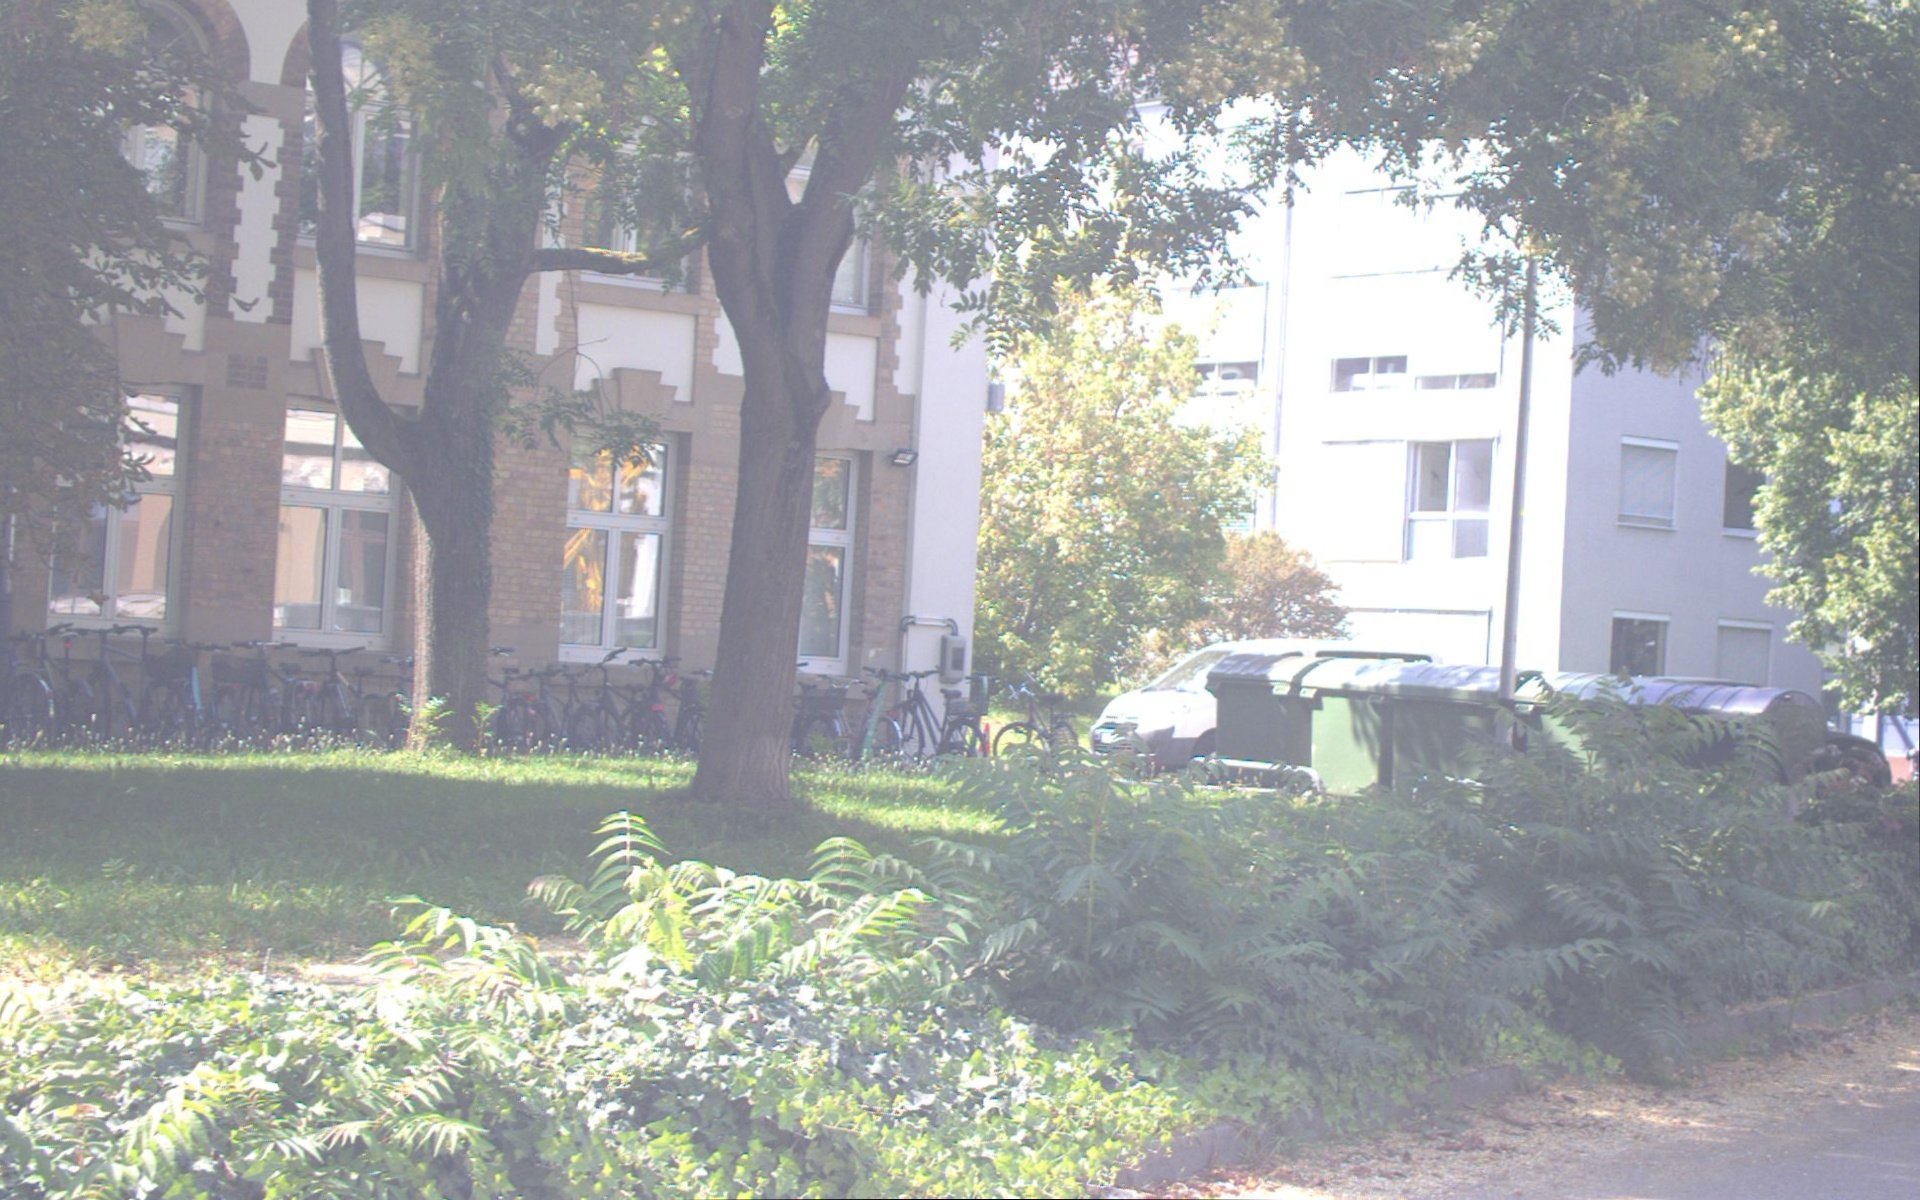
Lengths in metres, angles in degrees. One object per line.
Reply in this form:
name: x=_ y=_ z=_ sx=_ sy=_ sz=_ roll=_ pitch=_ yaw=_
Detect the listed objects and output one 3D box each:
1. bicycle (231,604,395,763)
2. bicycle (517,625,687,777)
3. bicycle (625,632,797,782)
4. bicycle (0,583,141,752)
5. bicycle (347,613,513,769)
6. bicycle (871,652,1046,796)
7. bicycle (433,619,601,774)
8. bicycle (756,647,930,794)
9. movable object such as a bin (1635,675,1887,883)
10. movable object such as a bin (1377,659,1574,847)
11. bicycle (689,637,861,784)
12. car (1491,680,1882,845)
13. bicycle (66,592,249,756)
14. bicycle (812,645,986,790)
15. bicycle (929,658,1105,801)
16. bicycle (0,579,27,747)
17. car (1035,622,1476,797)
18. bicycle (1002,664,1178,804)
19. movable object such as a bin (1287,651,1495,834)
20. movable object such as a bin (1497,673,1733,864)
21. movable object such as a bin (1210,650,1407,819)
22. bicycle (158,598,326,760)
bicycle: x=-5.649 y=0.711 z=29.917 sx=0.607 sy=1.298 sz=2.173 roll=5 pitch=-2 yaw=-31
bicycle: x=-3.284 y=0.903 z=31.378 sx=0.607 sy=1.298 sz=2.173 roll=5 pitch=-2 yaw=-31
bicycle: x=-2.330 y=0.974 z=31.929 sx=0.607 sy=1.298 sz=2.173 roll=5 pitch=-2 yaw=-31
bicycle: x=-7.608 y=0.539 z=28.539 sx=0.769 sy=1.298 sz=2.526 roll=5 pitch=-2 yaw=-31
bicycle: x=-4.740 y=0.794 z=30.633 sx=0.607 sy=1.298 sz=2.173 roll=5 pitch=-2 yaw=-31
bicycle: x=-0.037 y=1.193 z=33.548 sx=0.607 sy=1.298 sz=2.173 roll=5 pitch=-2 yaw=-31
bicycle: x=-3.996 y=0.850 z=30.884 sx=0.607 sy=1.298 sz=2.173 roll=5 pitch=-2 yaw=-31
bicycle: x=-1.136 y=1.128 z=32.723 sx=0.607 sy=1.298 sz=2.173 roll=5 pitch=-2 yaw=-31
movable object such as a bin: x=6.315 y=1.411 z=27.098 sx=1.372 sy=1.488 sz=1.332 roll=4 pitch=-1 yaw=42
movable object such as a bin: x=4.382 y=1.299 z=29.254 sx=1.098 sy=1.477 sz=1.101 roll=5 pitch=-1 yaw=-40
bicycle: x=-1.765 y=1.026 z=32.456 sx=0.607 sy=1.298 sz=2.173 roll=5 pitch=-2 yaw=-31
car: x=7.917 y=1.772 z=37.413 sx=3.898 sy=1.523 sz=1.708 roll=5 pitch=-2 yaw=-28
bicycle: x=-6.807 y=0.608 z=29.067 sx=0.769 sy=1.298 sz=2.273 roll=5 pitch=-2 yaw=-31
bicycle: x=-0.609 y=1.120 z=33.175 sx=0.607 sy=1.298 sz=2.173 roll=5 pitch=-2 yaw=-31
bicycle: x=0.540 y=1.259 z=33.907 sx=0.607 sy=1.298 sz=2.173 roll=5 pitch=-2 yaw=-31
bicycle: x=-8.309 y=0.467 z=27.742 sx=0.769 sy=1.298 sz=2.526 roll=5 pitch=-2 yaw=-31
car: x=3.834 y=1.419 z=44.362 sx=5.067 sy=1.875 sz=2.502 roll=5 pitch=-2 yaw=-31
bicycle: x=1.280 y=1.322 z=34.363 sx=0.607 sy=1.298 sz=2.173 roll=5 pitch=-2 yaw=-31
movable object such as a bin: x=3.825 y=1.261 z=30.530 sx=1.246 sy=1.490 sz=1.206 roll=5 pitch=-1 yaw=-40
movable object such as a bin: x=5.408 y=1.388 z=28.410 sx=1.246 sy=1.427 sz=1.331 roll=5 pitch=-1 yaw=-41
movable object such as a bin: x=3.269 y=1.260 z=32.234 sx=1.246 sy=1.439 sz=1.206 roll=5 pitch=-1 yaw=-40
bicycle: x=-6.187 y=0.658 z=29.539 sx=0.625 sy=1.298 sz=2.273 roll=5 pitch=-2 yaw=-31
